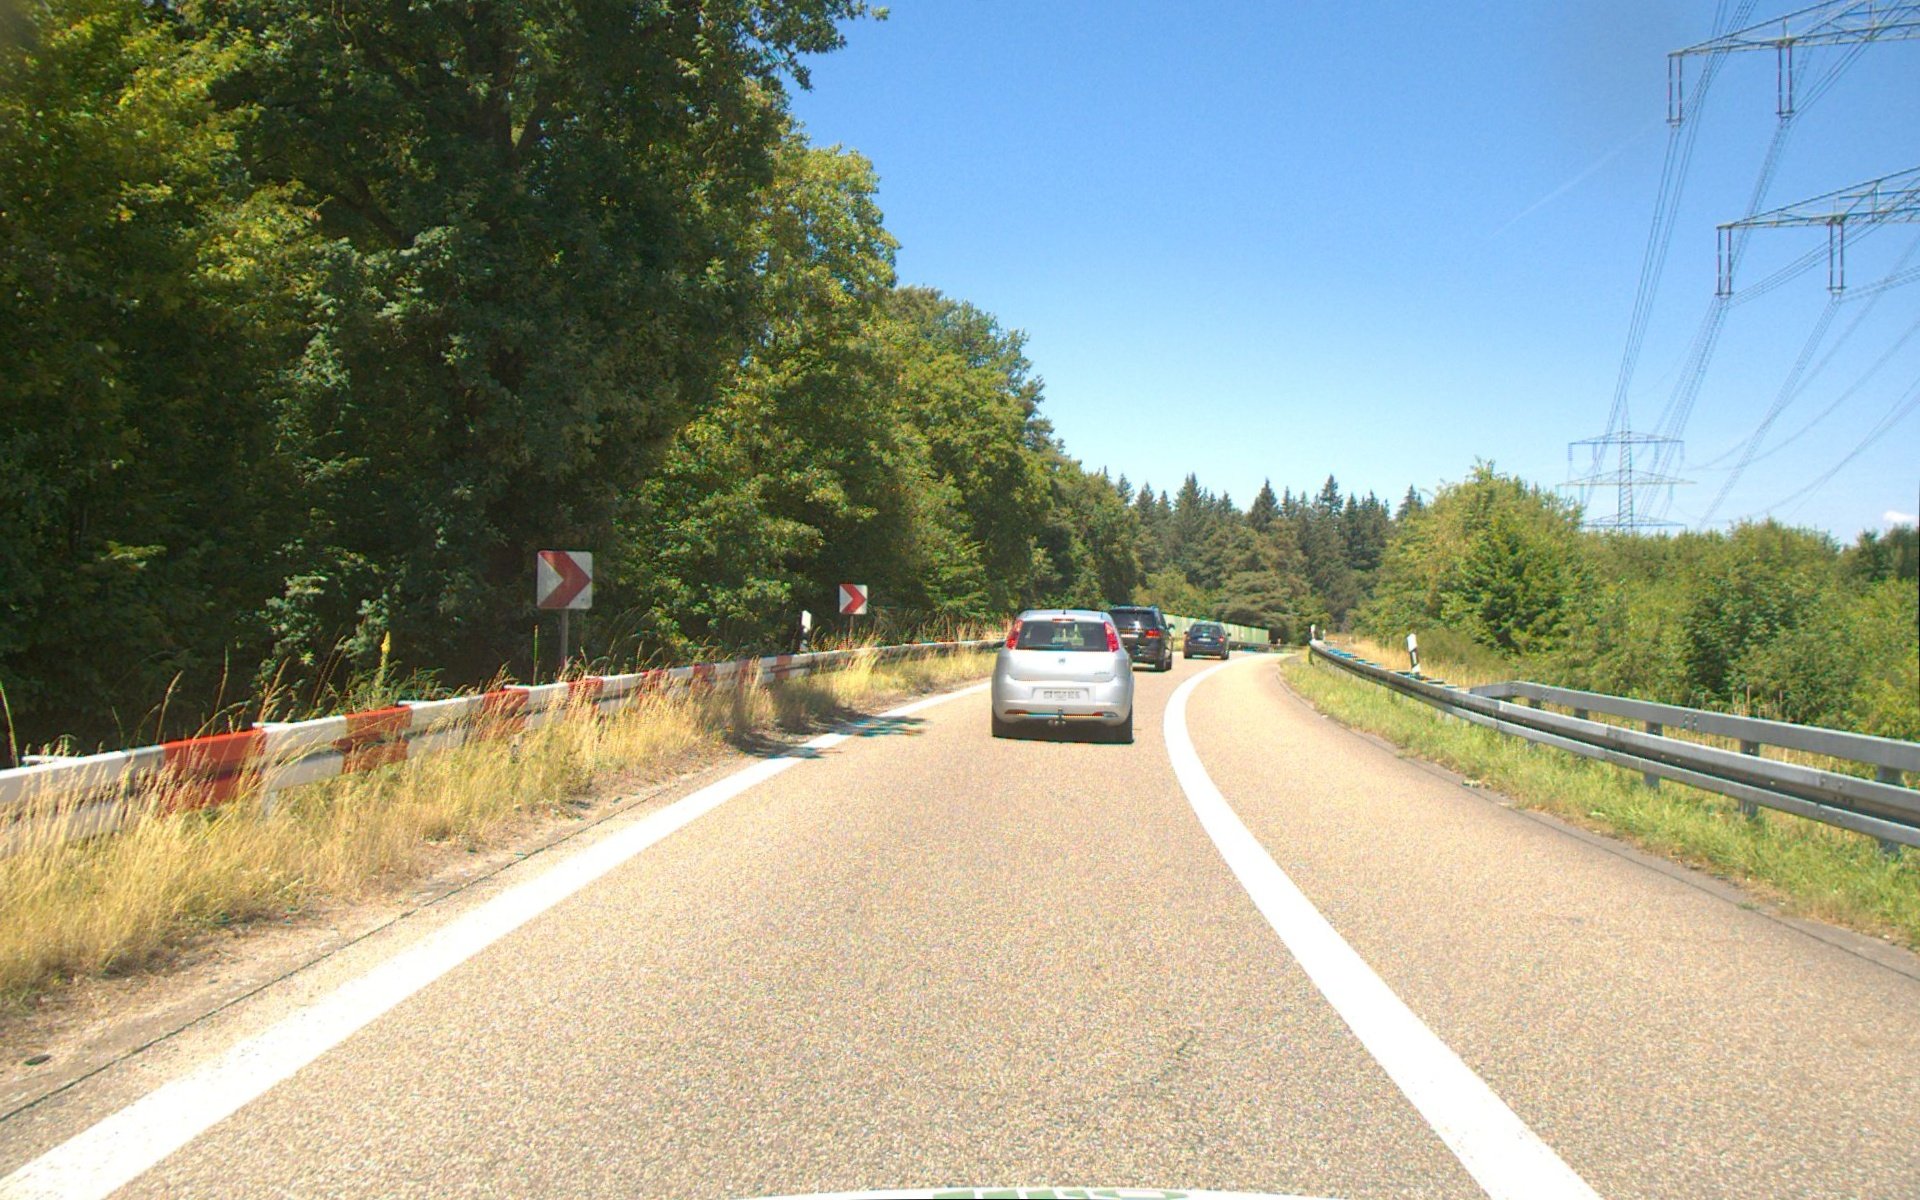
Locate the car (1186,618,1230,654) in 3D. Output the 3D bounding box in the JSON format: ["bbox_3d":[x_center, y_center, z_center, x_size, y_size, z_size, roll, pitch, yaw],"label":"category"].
[{"bbox_3d":[10.138,1.470,67.461,1.605,1.366,3.577,2,0,10],"label":"car"}]

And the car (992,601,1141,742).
[{"bbox_3d":[1.359,0.809,20.107,1.605,1.493,3.421,2,0,6],"label":"car"}]

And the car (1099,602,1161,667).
[{"bbox_3d":[4.797,0.939,46.351,1.605,1.682,3.576,2,0,7],"label":"car"}]
